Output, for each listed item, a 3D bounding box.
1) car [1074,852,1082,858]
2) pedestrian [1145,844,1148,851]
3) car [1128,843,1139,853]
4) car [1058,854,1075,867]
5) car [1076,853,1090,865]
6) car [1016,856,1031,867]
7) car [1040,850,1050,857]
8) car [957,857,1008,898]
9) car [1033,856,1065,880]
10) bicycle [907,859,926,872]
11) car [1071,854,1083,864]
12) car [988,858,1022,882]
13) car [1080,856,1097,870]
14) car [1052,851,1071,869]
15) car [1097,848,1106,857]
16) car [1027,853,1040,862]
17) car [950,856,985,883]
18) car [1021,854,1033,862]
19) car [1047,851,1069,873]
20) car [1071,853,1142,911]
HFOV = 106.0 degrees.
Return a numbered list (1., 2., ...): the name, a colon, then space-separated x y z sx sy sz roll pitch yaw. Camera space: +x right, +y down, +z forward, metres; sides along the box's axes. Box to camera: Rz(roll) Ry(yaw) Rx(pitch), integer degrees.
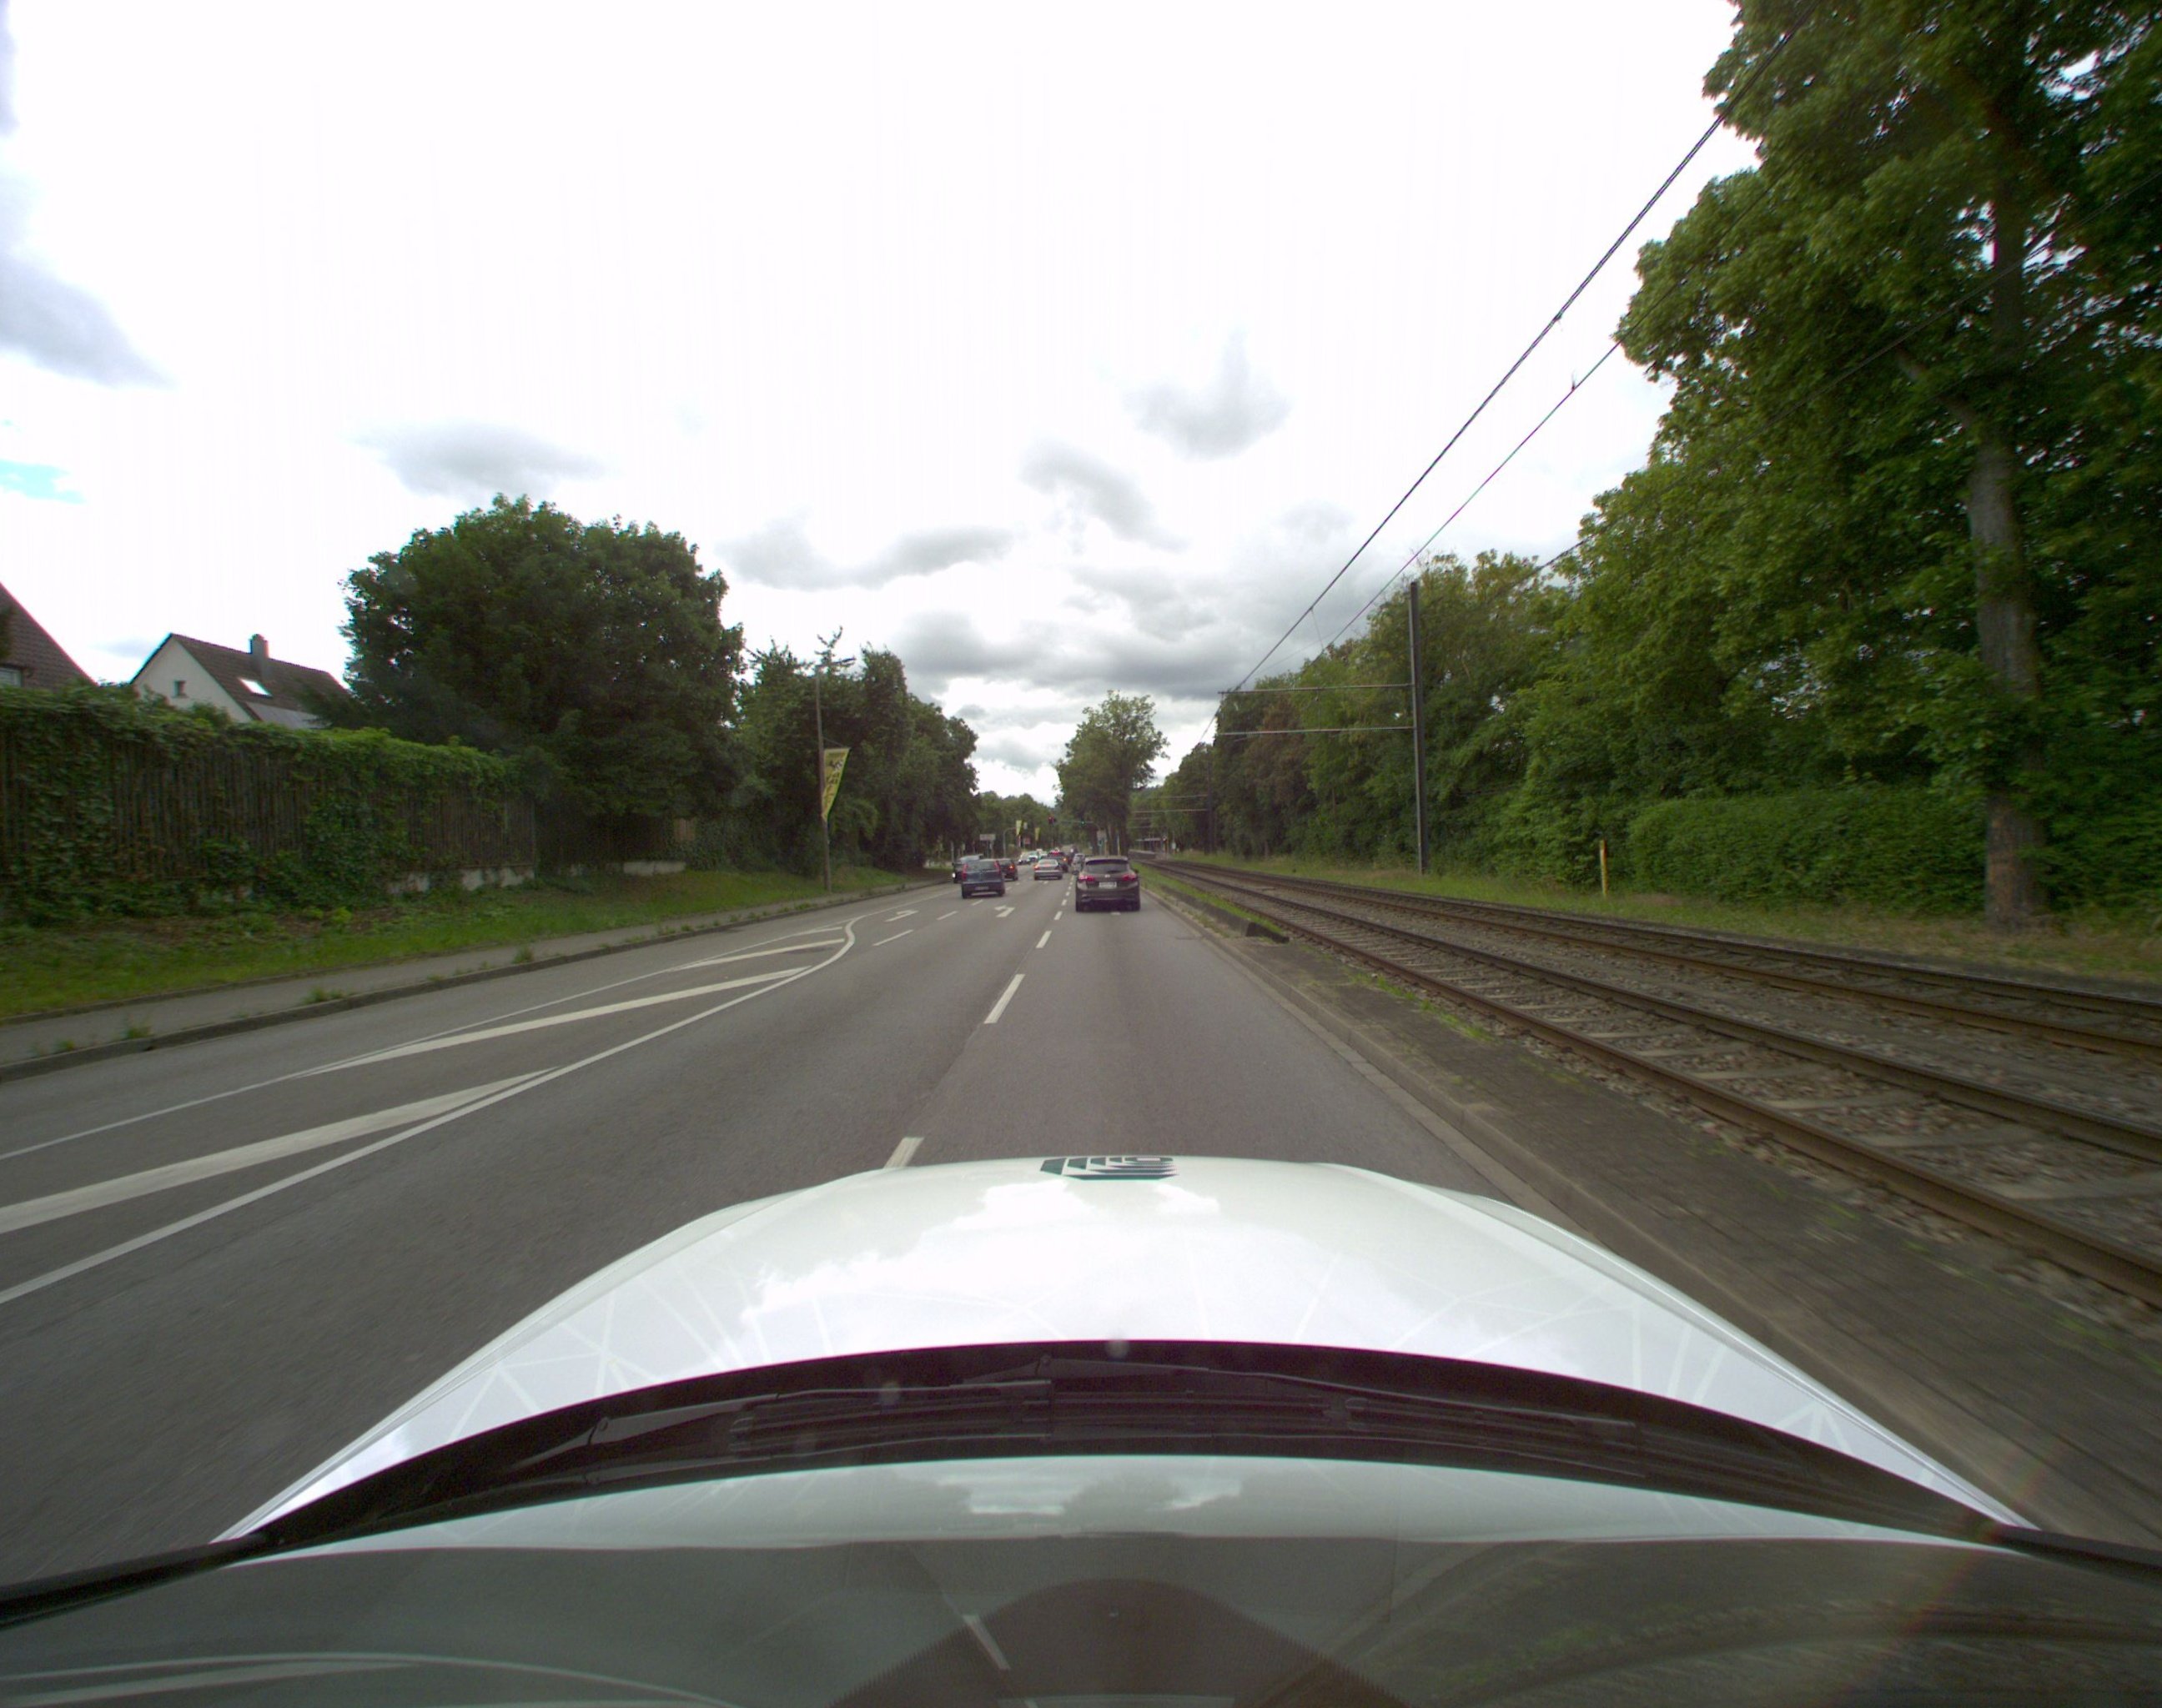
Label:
1. car: -0.830 0.361 209.605 1.708 1.550 4.003 -1 0 3
2. pedestrian: 15.419 -1.571 192.209 0.645 1.661 0.650 -1 0 2
3. car: 9.324 -1.073 143.750 1.709 1.663 3.708 -1 -1 1
4. car: -1.765 0.732 98.351 1.787 1.510 4.002 -1 0 2
5. car: 0.301 0.732 110.960 1.708 1.550 4.003 -1 0 3
6. car: -8.488 1.065 120.116 1.708 1.550 4.003 -1 0 3
7. car: -7.373 -0.109 168.365 1.708 1.550 4.003 -1 0 3
8. car: -3.893 0.901 32.786 1.696 1.443 3.995 -3 0 -3
9. car: -2.012 0.896 52.478 1.708 1.435 4.003 -1 0 3
10. bicycle: -14.115 0.979 69.838 0.494 1.107 1.812 -2 0 33
11. car: -0.610 0.810 132.307 1.708 1.550 4.003 -1 0 3
12. car: -4.837 1.002 52.405 1.709 1.435 4.000 -1 0 1
13. car: 0.870 1.002 92.920 1.708 1.550 4.003 -1 0 3
14. car: -2.083 0.658 87.994 1.708 1.864 4.003 -1 -1 3
15. car: 3.950 -0.255 155.536 1.708 1.550 4.003 -1 0 3
16. car: -8.048 0.584 138.909 1.708 1.550 4.003 -1 0 3
17. car: -7.675 1.042 55.238 1.709 1.760 4.000 -1 -1 1
18. car: -10.467 0.840 157.801 1.708 1.550 4.003 -1 0 3
19. car: -1.996 0.709 71.067 1.709 1.864 4.000 -1 -1 0
20. car: 0.782 0.752 23.507 1.843 1.493 4.003 -1 0 3
